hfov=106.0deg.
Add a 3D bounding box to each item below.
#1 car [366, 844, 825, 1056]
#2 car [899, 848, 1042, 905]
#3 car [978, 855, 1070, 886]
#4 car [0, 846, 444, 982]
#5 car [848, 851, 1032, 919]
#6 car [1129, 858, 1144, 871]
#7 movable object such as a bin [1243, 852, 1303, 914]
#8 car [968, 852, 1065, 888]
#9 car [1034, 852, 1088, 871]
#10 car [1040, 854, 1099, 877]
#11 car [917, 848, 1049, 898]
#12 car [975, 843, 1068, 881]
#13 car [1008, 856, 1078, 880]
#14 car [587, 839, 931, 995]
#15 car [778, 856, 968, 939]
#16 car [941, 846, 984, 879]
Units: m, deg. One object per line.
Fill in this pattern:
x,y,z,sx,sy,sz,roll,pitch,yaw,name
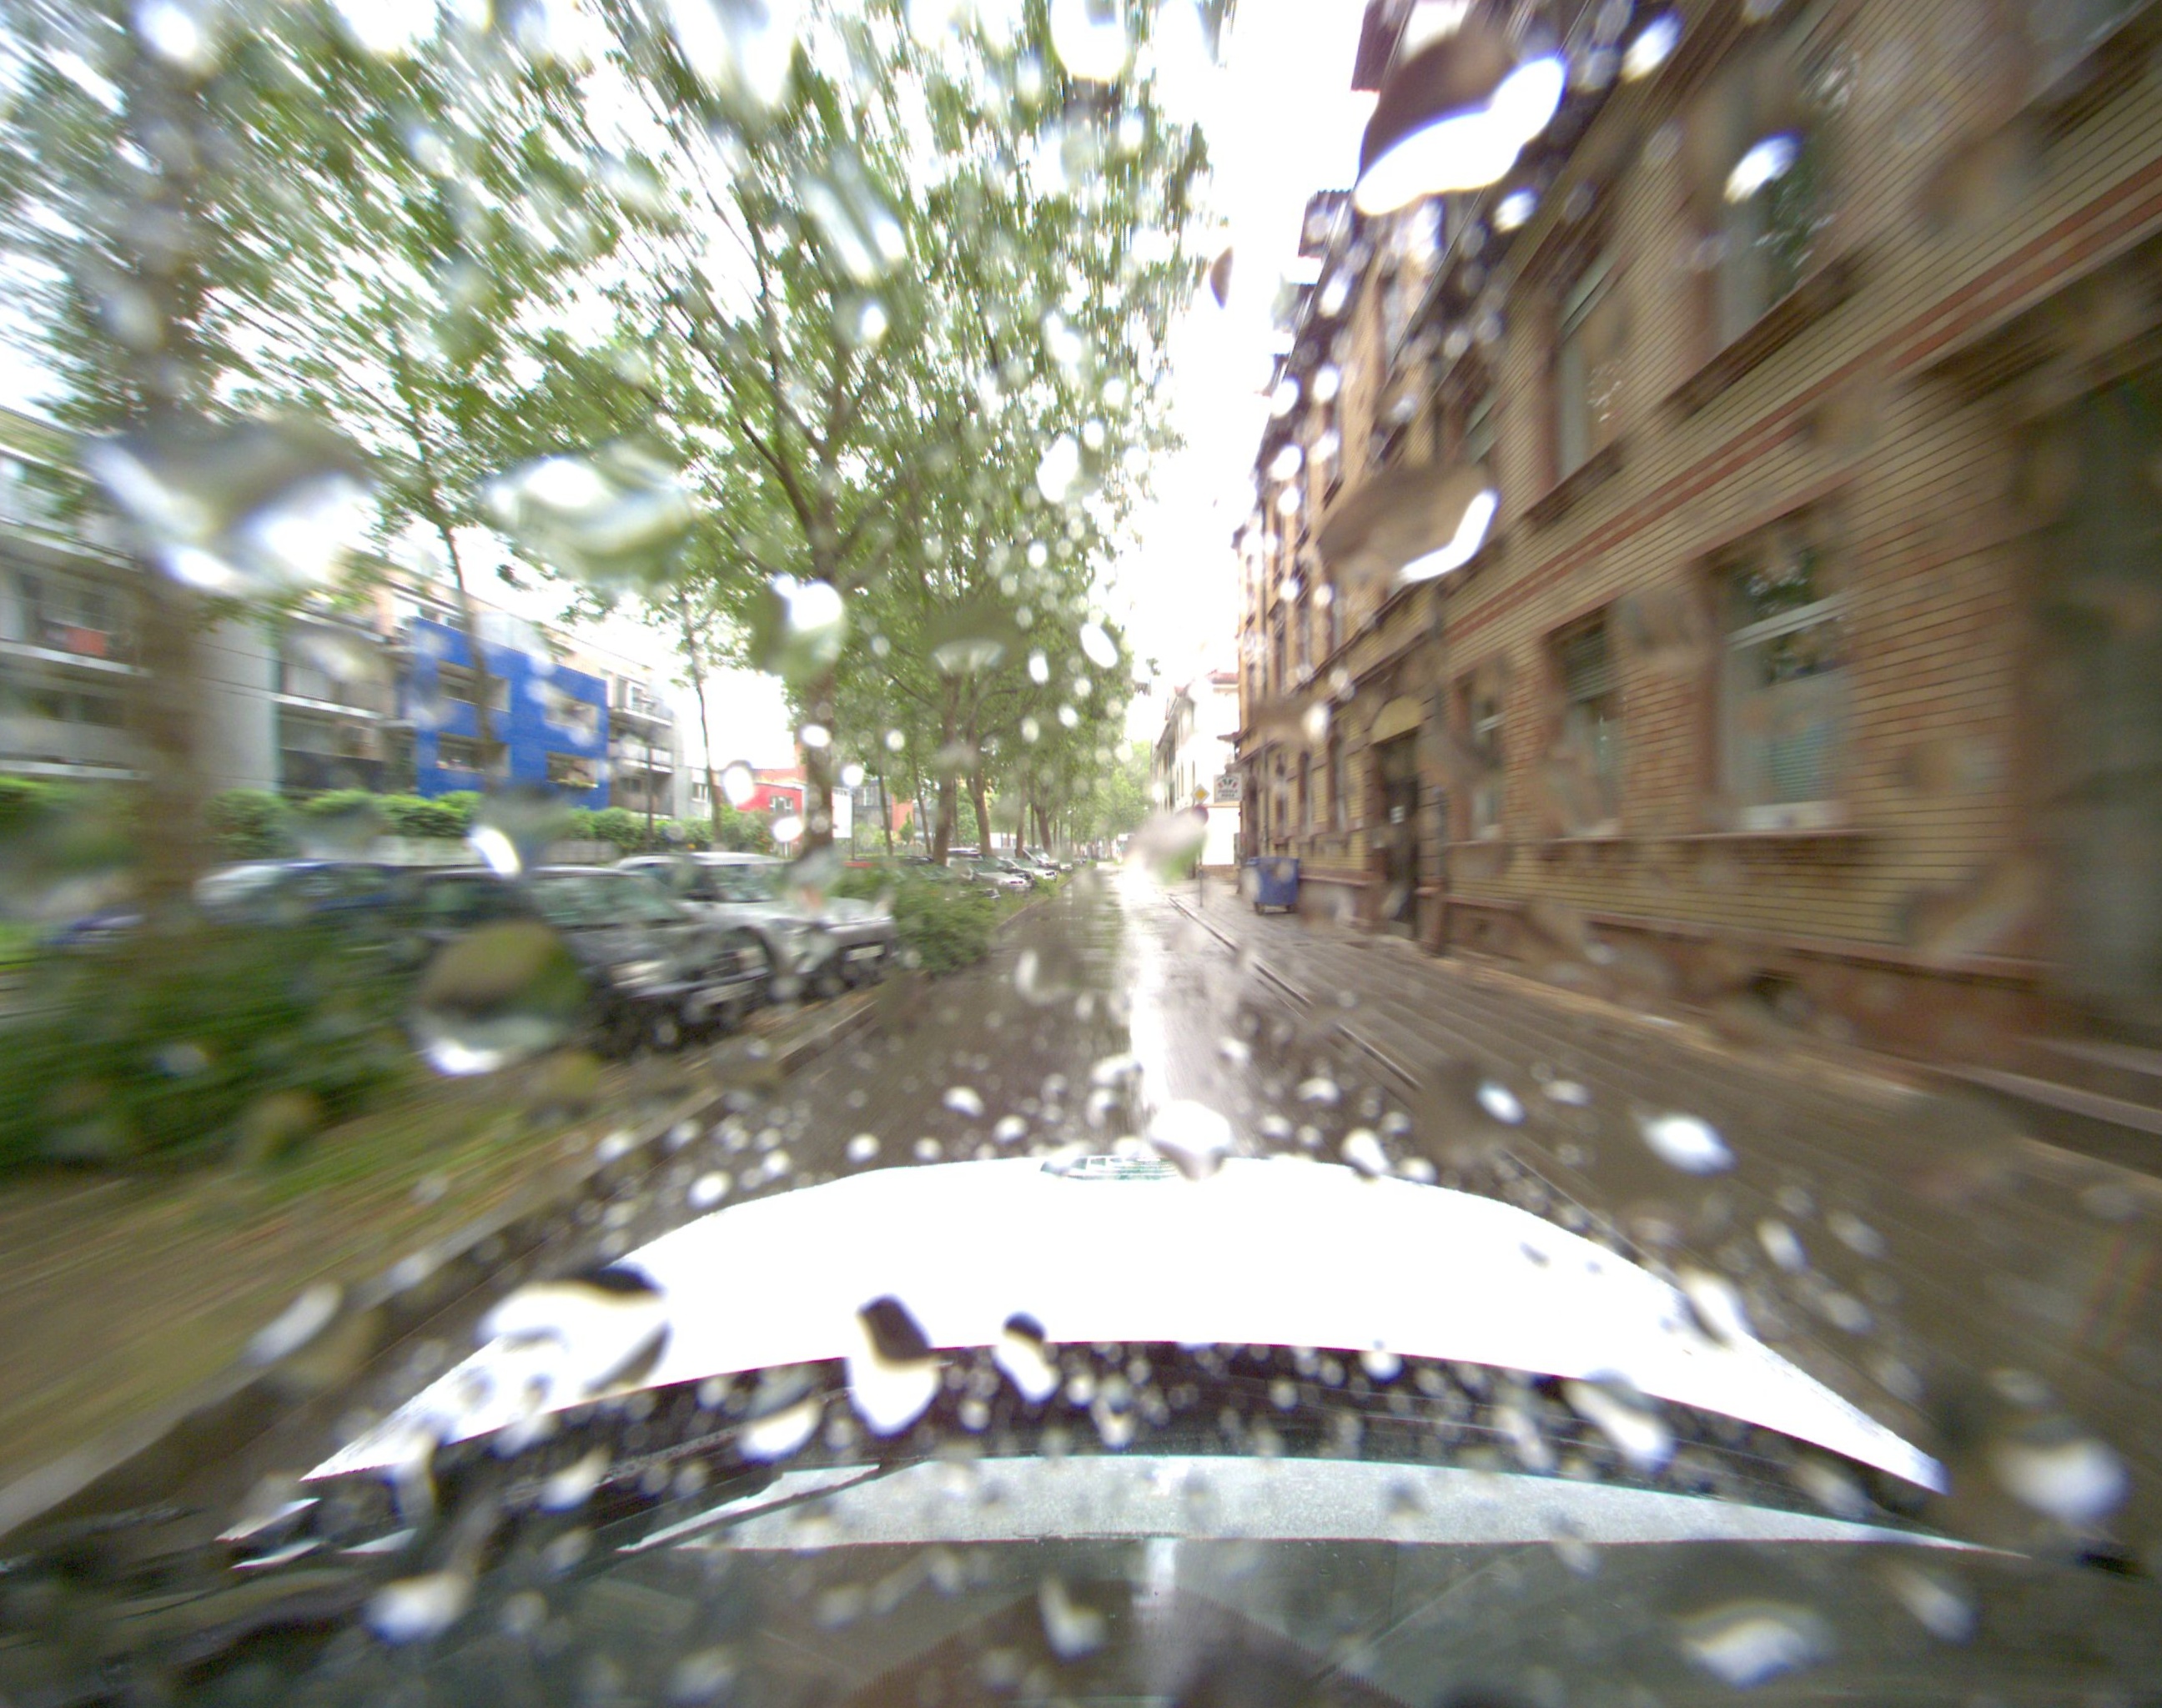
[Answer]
-4.200,0.698,7.087,3.469,1.467,1.651,-1,0,23,car
-3.613,0.756,26.464,4.360,1.645,1.884,-3,0,33,car
-2.845,0.778,40.350,4.261,1.437,1.758,0,1,28,car
-11.605,0.673,11.461,1.898,1.534,4.216,-1,1,1,car
-3.419,0.674,19.630,4.177,1.479,1.754,0,1,29,car
7.700,1.441,113.024,1.986,1.640,4.002,0,0,2,car
4.468,0.661,19.058,1.017,1.301,1.367,-4,1,1,movable object such as a bin
-2.956,0.698,37.176,4.019,1.499,1.758,0,1,25,car
-1.763,0.685,72.935,4.416,1.597,1.935,-1,1,28,car
-0.813,0.827,57.747,3.768,1.521,1.733,-2,0,33,car
-3.522,0.675,29.188,4.361,1.660,1.942,-1,0,30,car
-3.462,0.484,47.313,5.065,1.977,2.116,-2,0,32,car
-2.626,0.938,55.713,4.502,1.482,1.786,-2,0,32,car
-3.975,0.608,9.903,4.013,1.537,1.847,0,1,32,car
-4.292,0.797,16.684,3.607,1.479,1.755,0,1,32,car
-7.550,0.496,52.237,2.032,2.000,5.157,-1,1,-1,car
